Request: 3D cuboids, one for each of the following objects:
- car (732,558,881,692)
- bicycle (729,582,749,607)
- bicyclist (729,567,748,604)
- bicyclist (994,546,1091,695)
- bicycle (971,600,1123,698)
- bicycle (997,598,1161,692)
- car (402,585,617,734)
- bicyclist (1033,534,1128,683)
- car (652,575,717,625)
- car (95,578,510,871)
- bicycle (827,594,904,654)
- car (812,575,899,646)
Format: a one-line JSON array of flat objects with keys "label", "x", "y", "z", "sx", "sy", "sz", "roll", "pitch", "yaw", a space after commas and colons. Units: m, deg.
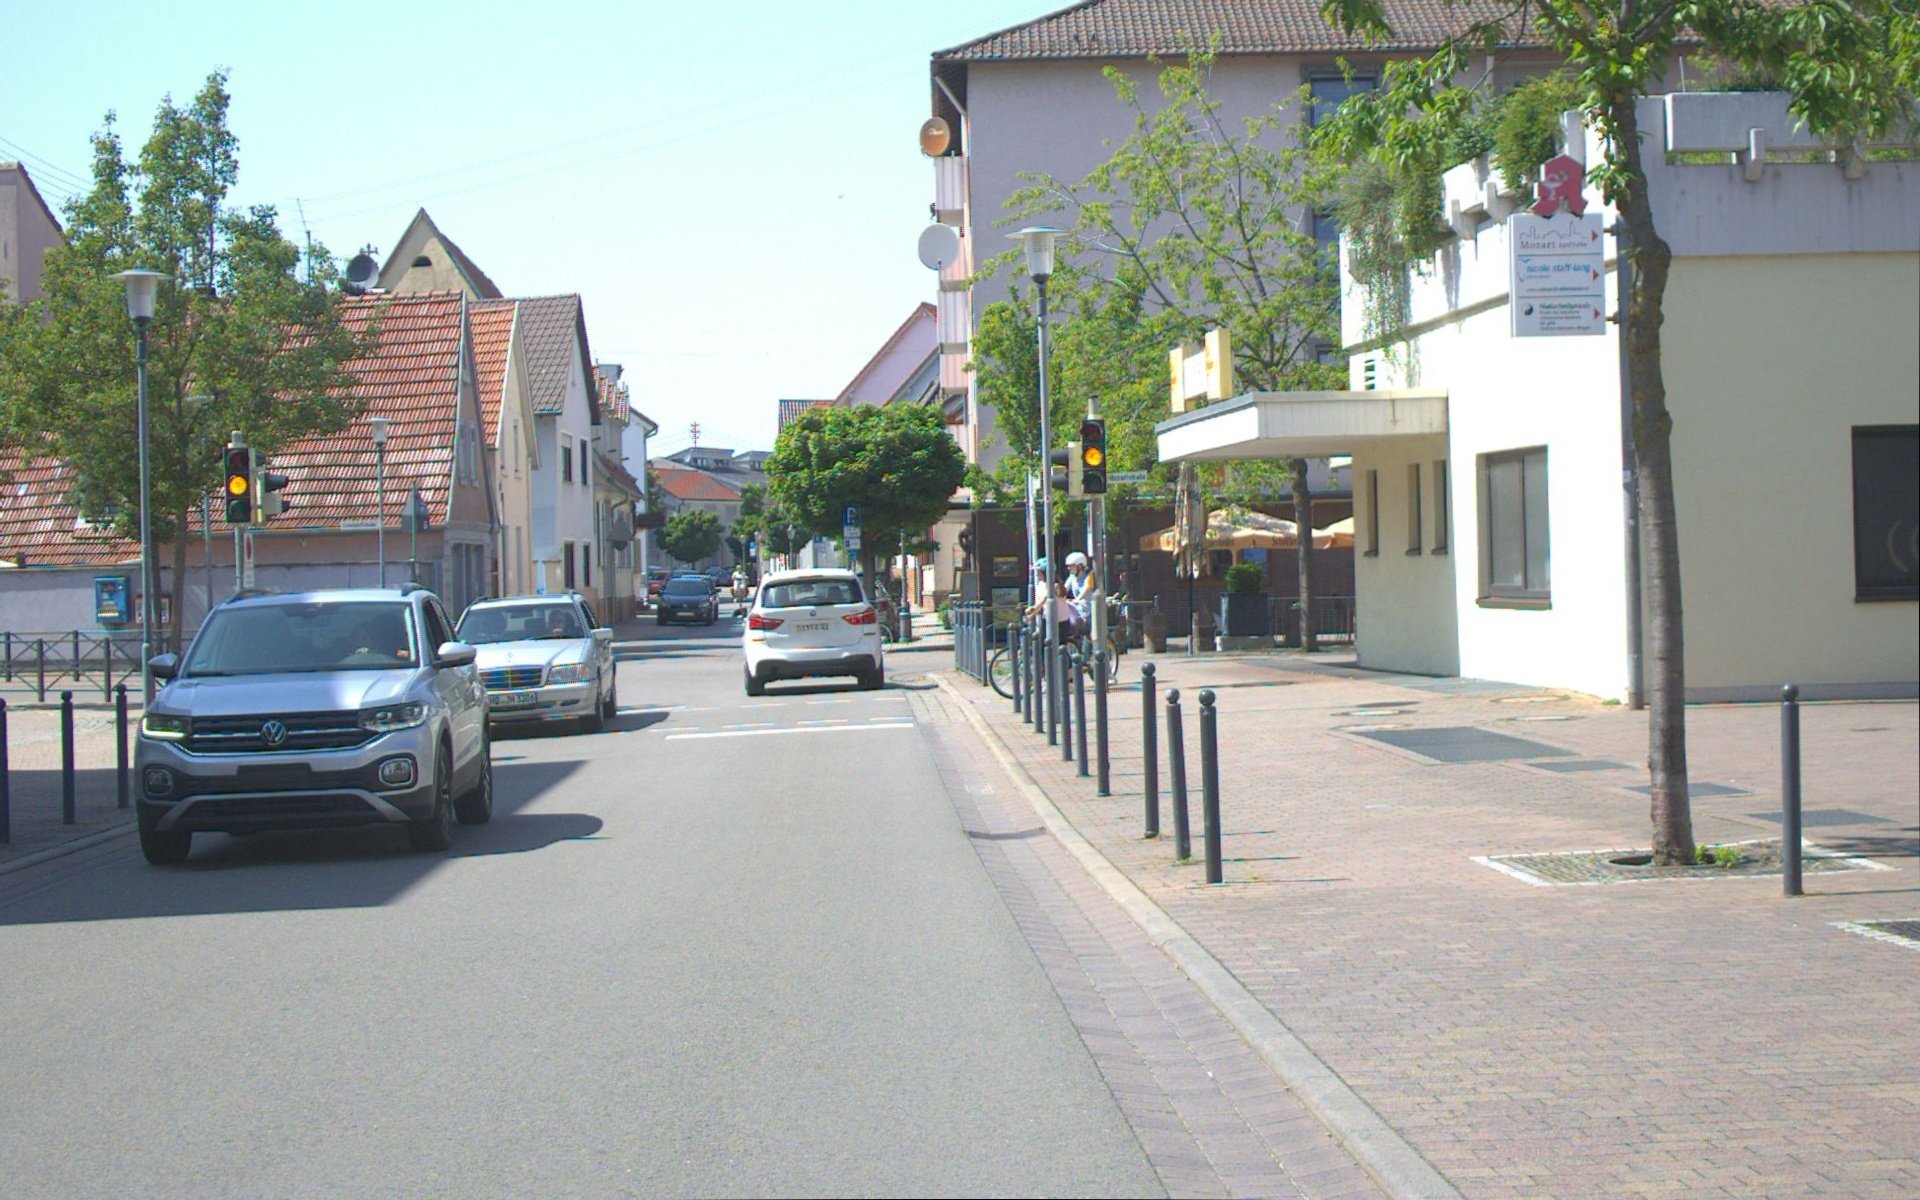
[{"label": "car", "x": -1.998, "y": 0.300, "z": 45.648, "sx": 1.834, "sy": 1.646, "sz": 4.000, "roll": -2, "pitch": 0, "yaw": -1}, {"label": "bicycle", "x": -9.145, "y": -0.241, "z": 142.208, "sx": 0.664, "sy": 1.003, "sz": 1.897, "roll": -2, "pitch": 0, "yaw": 1}, {"label": "bicyclist", "x": -9.163, "y": -0.598, "z": 142.071, "sx": 0.673, "sy": 1.478, "sz": 0.770, "roll": -2, "pitch": 0, "yaw": 1}, {"label": "bicyclist", "x": 0.915, "y": 0.221, "z": 37.899, "sx": 0.670, "sy": 1.576, "sz": 0.760, "roll": -3, "pitch": 1, "yaw": 35}, {"label": "bicycle", "x": 0.975, "y": 0.532, "z": 37.956, "sx": 0.675, "sy": 0.954, "sz": 1.892, "roll": -3, "pitch": 1, "yaw": 36}, {"label": "bicycle", "x": 1.382, "y": 0.514, "z": 39.571, "sx": 1.891, "sy": 0.954, "sz": 0.675, "roll": -4, "pitch": 1, "yaw": -41}, {"label": "car", "x": -4.805, "y": 0.591, "z": 37.182, "sx": 1.880, "sy": 1.459, "sz": 4.436, "roll": -1, "pitch": 0, "yaw": -2}, {"label": "bicyclist", "x": 1.389, "y": 0.098, "z": 39.584, "sx": 0.759, "sy": 1.658, "sz": 0.670, "roll": -4, "pitch": 1, "yaw": -41}, {"label": "car", "x": -8.714, "y": -0.006, "z": 109.073, "sx": 1.714, "sy": 1.512, "sz": 3.786, "roll": -1, "pitch": 0, "yaw": 0}, {"label": "car", "x": -3.889, "y": 0.673, "z": 20.973, "sx": 1.851, "sy": 1.568, "sz": 4.000, "roll": -1, "pitch": 0, "yaw": -2}, {"label": "bicycle", "x": -1.921, "y": 0.497, "z": 69.545, "sx": 0.525, "sy": 1.189, "sz": 1.674, "roll": -1, "pitch": 0, "yaw": -45}, {"label": "car", "x": -2.363, "y": 0.212, "z": 78.408, "sx": 1.805, "sy": 1.496, "sz": 4.000, "roll": -1, "pitch": 1, "yaw": 0}]
